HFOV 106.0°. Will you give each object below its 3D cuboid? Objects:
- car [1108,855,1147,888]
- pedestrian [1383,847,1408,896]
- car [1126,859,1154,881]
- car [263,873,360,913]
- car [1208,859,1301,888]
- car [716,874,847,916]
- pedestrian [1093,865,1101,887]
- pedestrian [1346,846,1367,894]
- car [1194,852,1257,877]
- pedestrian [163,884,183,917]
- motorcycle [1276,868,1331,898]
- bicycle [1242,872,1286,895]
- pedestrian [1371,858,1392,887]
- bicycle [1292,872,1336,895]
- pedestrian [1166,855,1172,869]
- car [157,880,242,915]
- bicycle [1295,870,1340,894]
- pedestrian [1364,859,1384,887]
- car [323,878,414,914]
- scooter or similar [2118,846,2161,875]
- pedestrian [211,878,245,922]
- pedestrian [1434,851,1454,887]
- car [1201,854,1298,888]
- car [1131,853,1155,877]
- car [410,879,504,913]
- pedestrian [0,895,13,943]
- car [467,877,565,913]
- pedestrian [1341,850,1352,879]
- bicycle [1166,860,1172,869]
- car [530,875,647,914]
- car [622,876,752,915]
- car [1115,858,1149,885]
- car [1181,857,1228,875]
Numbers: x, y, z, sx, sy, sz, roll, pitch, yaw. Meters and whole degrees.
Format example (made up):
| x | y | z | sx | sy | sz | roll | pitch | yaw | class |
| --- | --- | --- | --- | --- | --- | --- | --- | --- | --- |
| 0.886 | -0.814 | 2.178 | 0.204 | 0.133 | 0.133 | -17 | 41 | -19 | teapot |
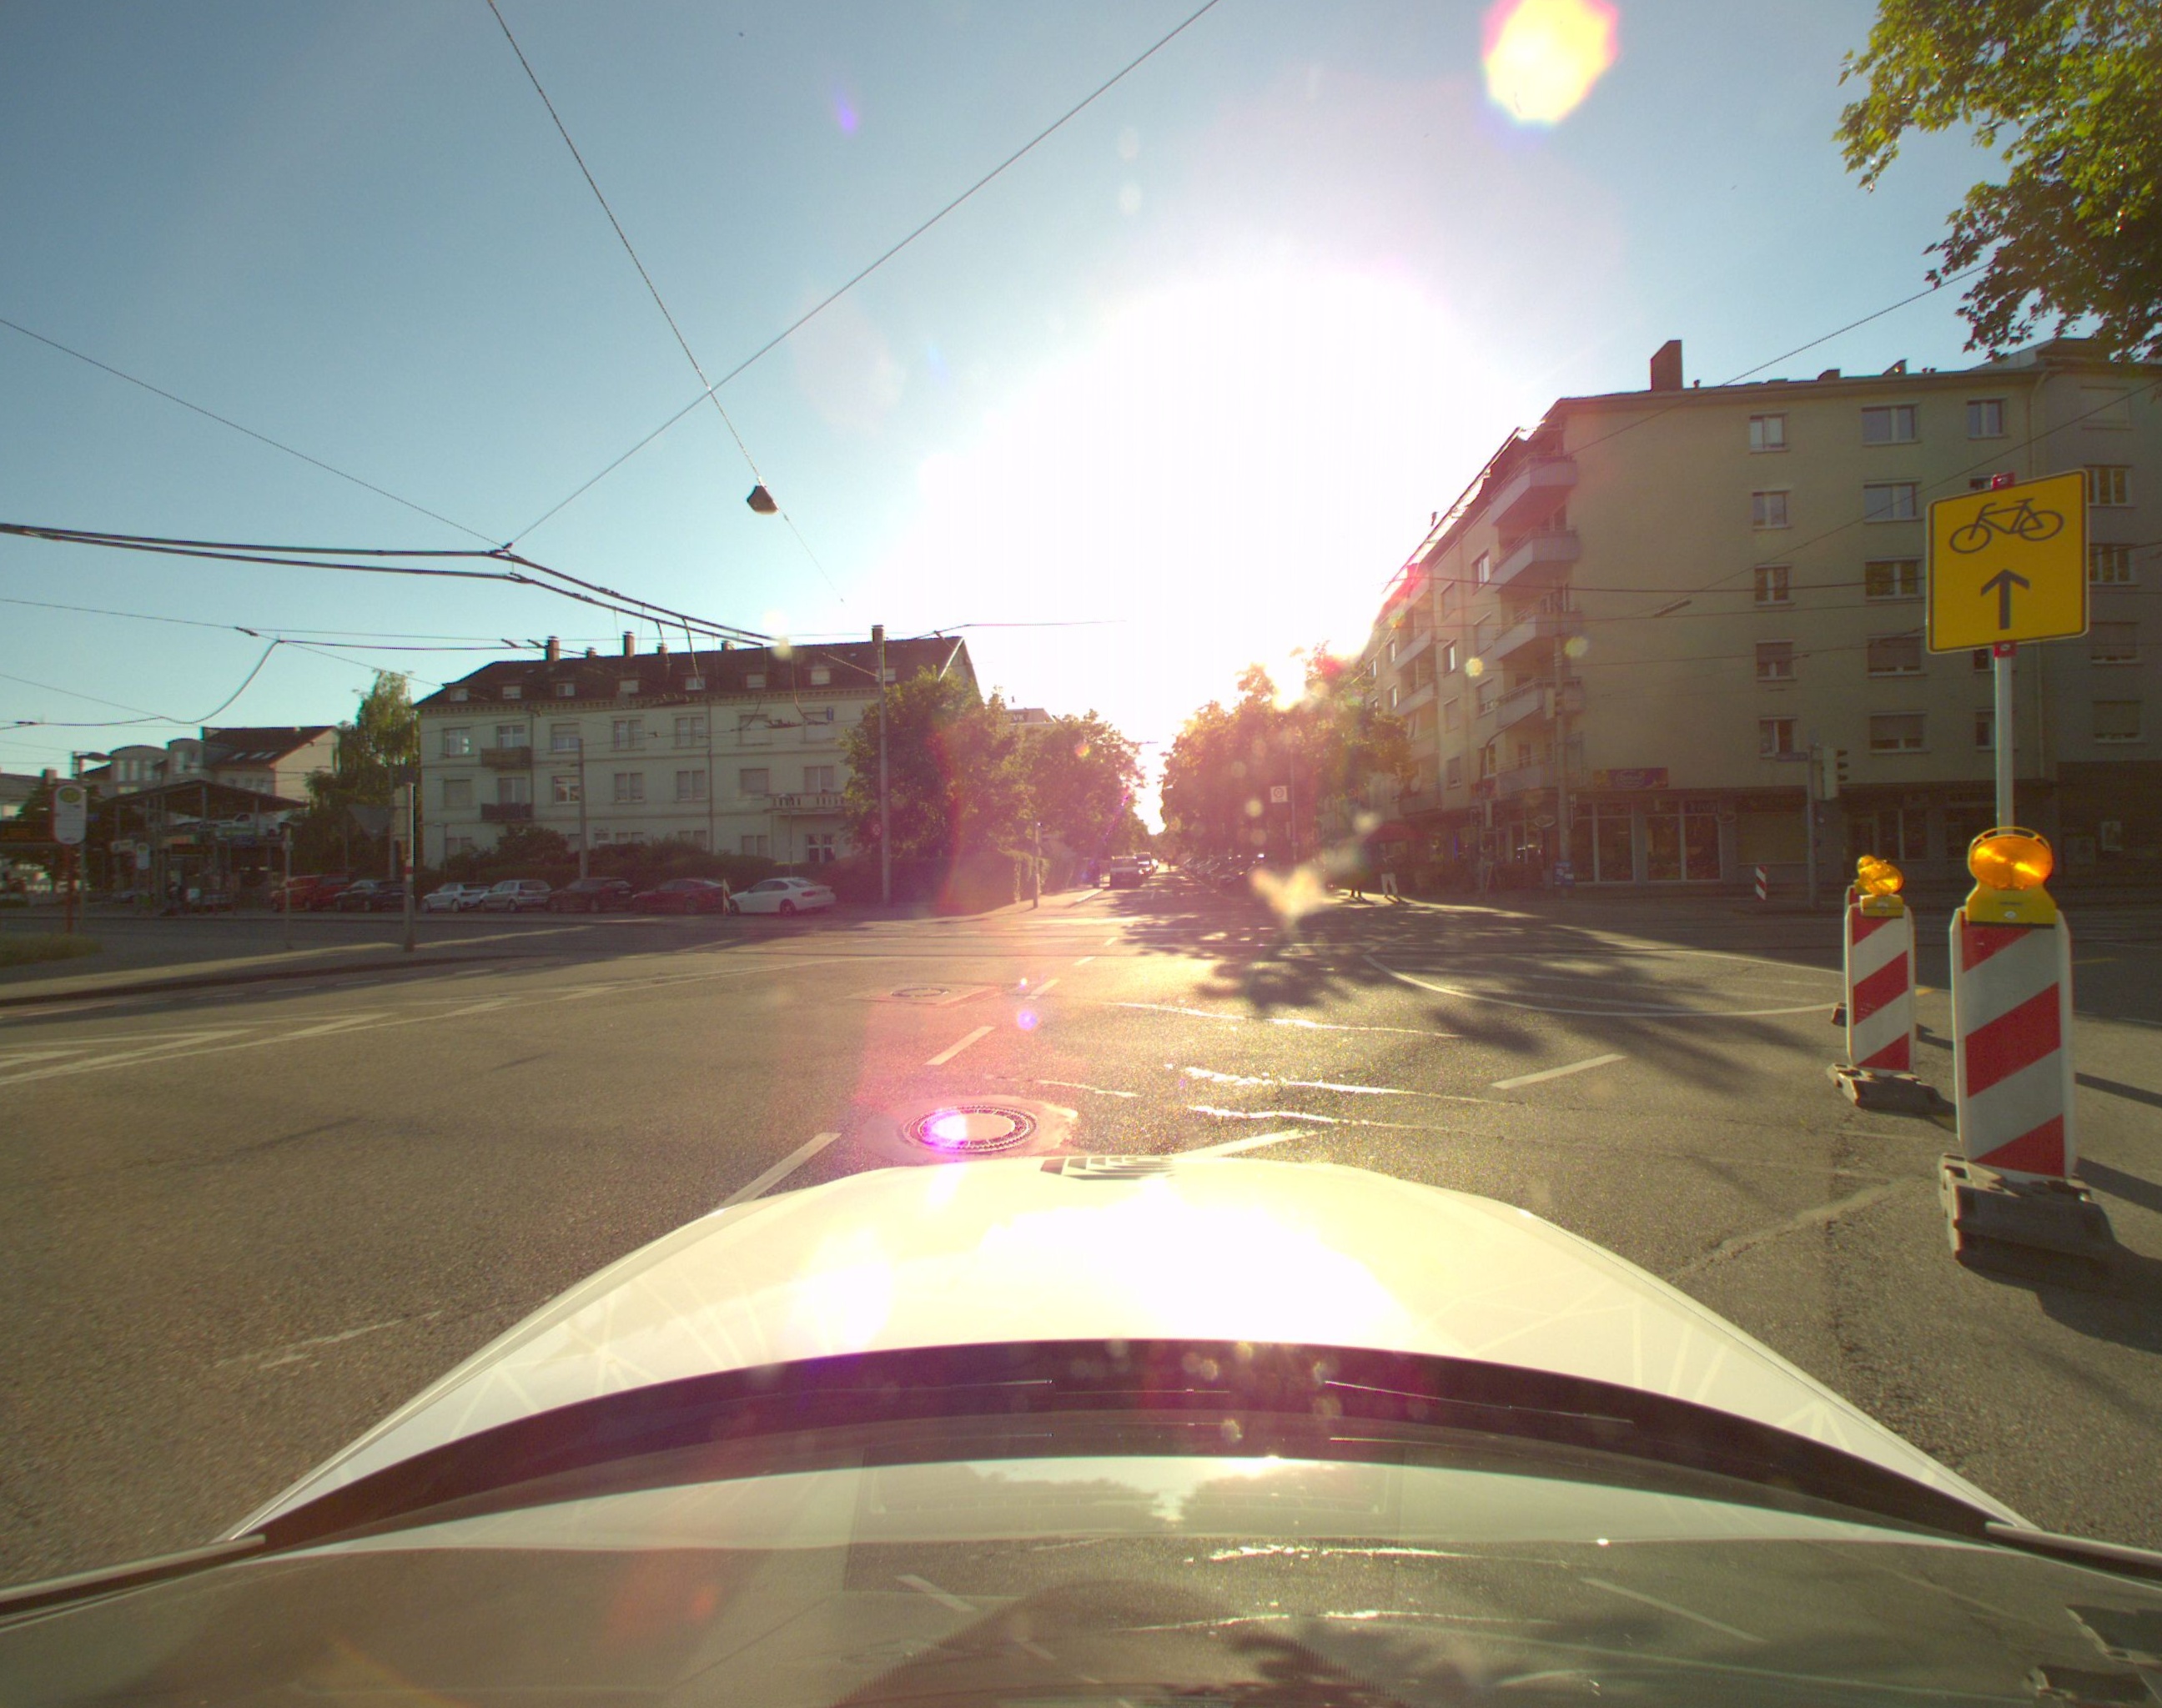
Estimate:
| x | y | z | sx | sy | sz | roll | pitch | yaw | class |
| --- | --- | --- | --- | --- | --- | --- | --- | --- | --- |
| 2.966 | 1.098 | 52.453 | 2.345 | 2.014 | 5.313 | -1 | -1 | 3 | car |
| 11.449 | 0.638 | 29.671 | 0.686 | 1.750 | 0.843 | -1 | -1 | 13 | pedestrian |
| 5.267 | 1.431 | 73.690 | 2.345 | 1.795 | 5.313 | -1 | -1 | 3 | car |
| -42.465 | 2.130 | 44.922 | 5.087 | 1.961 | 2.069 | -1 | 1 | 25 | car |
| 10.181 | 1.146 | 48.112 | 5.070 | 1.557 | 2.363 | -1 | -3 | 2 | car |
| -11.306 | 1.528 | 30.765 | 4.442 | 1.376 | 1.941 | -1 | 1 | 23 | car |
| 1.312 | 1.767 | 65.576 | 0.577 | 1.731 | 0.608 | -1 | -1 | -1 | pedestrian |
| 10.352 | 0.604 | 30.582 | 0.685 | 1.750 | 0.799 | -1 | -1 | 20 | pedestrian |
| 12.443 | 0.937 | 70.526 | 5.070 | 1.924 | 2.363 | -1 | -3 | 2 | car |
| -42.964 | 2.189 | 38.541 | 0.670 | 1.501 | 0.572 | -2 | -1 | 37 | pedestrian |
| 8.880 | 1.161 | 32.561 | 1.945 | 1.109 | 0.837 | -2 | -1 | -1 | motorcycle |
| 7.784 | 1.265 | 34.667 | 1.715 | 0.932 | 0.673 | -1 | -1 | 4 | bicycle |
| 14.730 | 0.900 | 39.955 | 0.806 | 1.362 | 0.916 | -2 | -1 | 10 | pedestrian |
| 9.938 | 1.239 | 34.753 | 1.715 | 0.932 | 0.563 | -1 | -1 | 4 | bicycle |
| 12.738 | 1.189 | 118.225 | 0.733 | 2.014 | 0.744 | -1 | -1 | 4 | pedestrian |
| -55.224 | 2.712 | 51.020 | 5.087 | 1.961 | 2.069 | -1 | 1 | 25 | car |
| 9.870 | 1.160 | 33.988 | 1.715 | 0.932 | 0.563 | -1 | -1 | 4 | bicycle |
| 14.839 | 0.958 | 41.282 | 0.806 | 1.362 | 0.916 | -2 | -1 | 10 | pedestrian |
| -36.776 | 2.136 | 42.037 | 4.316 | 1.668 | 1.856 | -1 | 1 | 25 | car |
| 36.292 | 0.222 | 27.795 | 1.426 | 0.954 | 0.466 | -1 | -1 | -10 | scooter or similar |
| -40.316 | 2.156 | 38.502 | 0.759 | 2.014 | 0.930 | -2 | -1 | 30 | pedestrian |
| 16.345 | 0.678 | 36.649 | 0.617 | 1.591 | 0.477 | -1 | -1 | -12 | pedestrian |
| 10.431 | 1.077 | 50.697 | 5.598 | 1.924 | 2.363 | -1 | -3 | 2 | car |
| 6.773 | 1.182 | 89.523 | 2.345 | 2.515 | 5.313 | -1 | -1 | 3 | car |
| -29.795 | 2.005 | 38.883 | 3.910 | 1.447 | 1.856 | -1 | 1 | 25 | car |
| -32.155 | 1.928 | 24.055 | 0.500 | 1.427 | 0.600 | -2 | -1 | 17 | pedestrian |
| -25.651 | 1.861 | 36.981 | 3.673 | 1.447 | 1.999 | -1 | 1 | 25 | car |
| 18.584 | 0.708 | 56.962 | 0.534 | 2.014 | 0.511 | -1 | -1 | -3 | pedestrian |
| 12.759 | 1.533 | 118.258 | 0.762 | 1.324 | 1.926 | -1 | -1 | 6 | bicycle |
| -21.404 | 1.743 | 35.396 | 4.647 | 1.447 | 1.999 | -1 | 1 | 25 | car |
| -15.947 | 1.659 | 32.987 | 4.650 | 1.376 | 1.997 | -2 | 1 | 20 | car |
| 3.639 | 1.256 | 58.636 | 2.345 | 1.795 | 5.313 | -1 | -1 | 3 | car |
| 14.255 | 1.375 | 94.205 | 5.070 | 1.924 | 2.363 | -1 | -3 | 2 | car |
